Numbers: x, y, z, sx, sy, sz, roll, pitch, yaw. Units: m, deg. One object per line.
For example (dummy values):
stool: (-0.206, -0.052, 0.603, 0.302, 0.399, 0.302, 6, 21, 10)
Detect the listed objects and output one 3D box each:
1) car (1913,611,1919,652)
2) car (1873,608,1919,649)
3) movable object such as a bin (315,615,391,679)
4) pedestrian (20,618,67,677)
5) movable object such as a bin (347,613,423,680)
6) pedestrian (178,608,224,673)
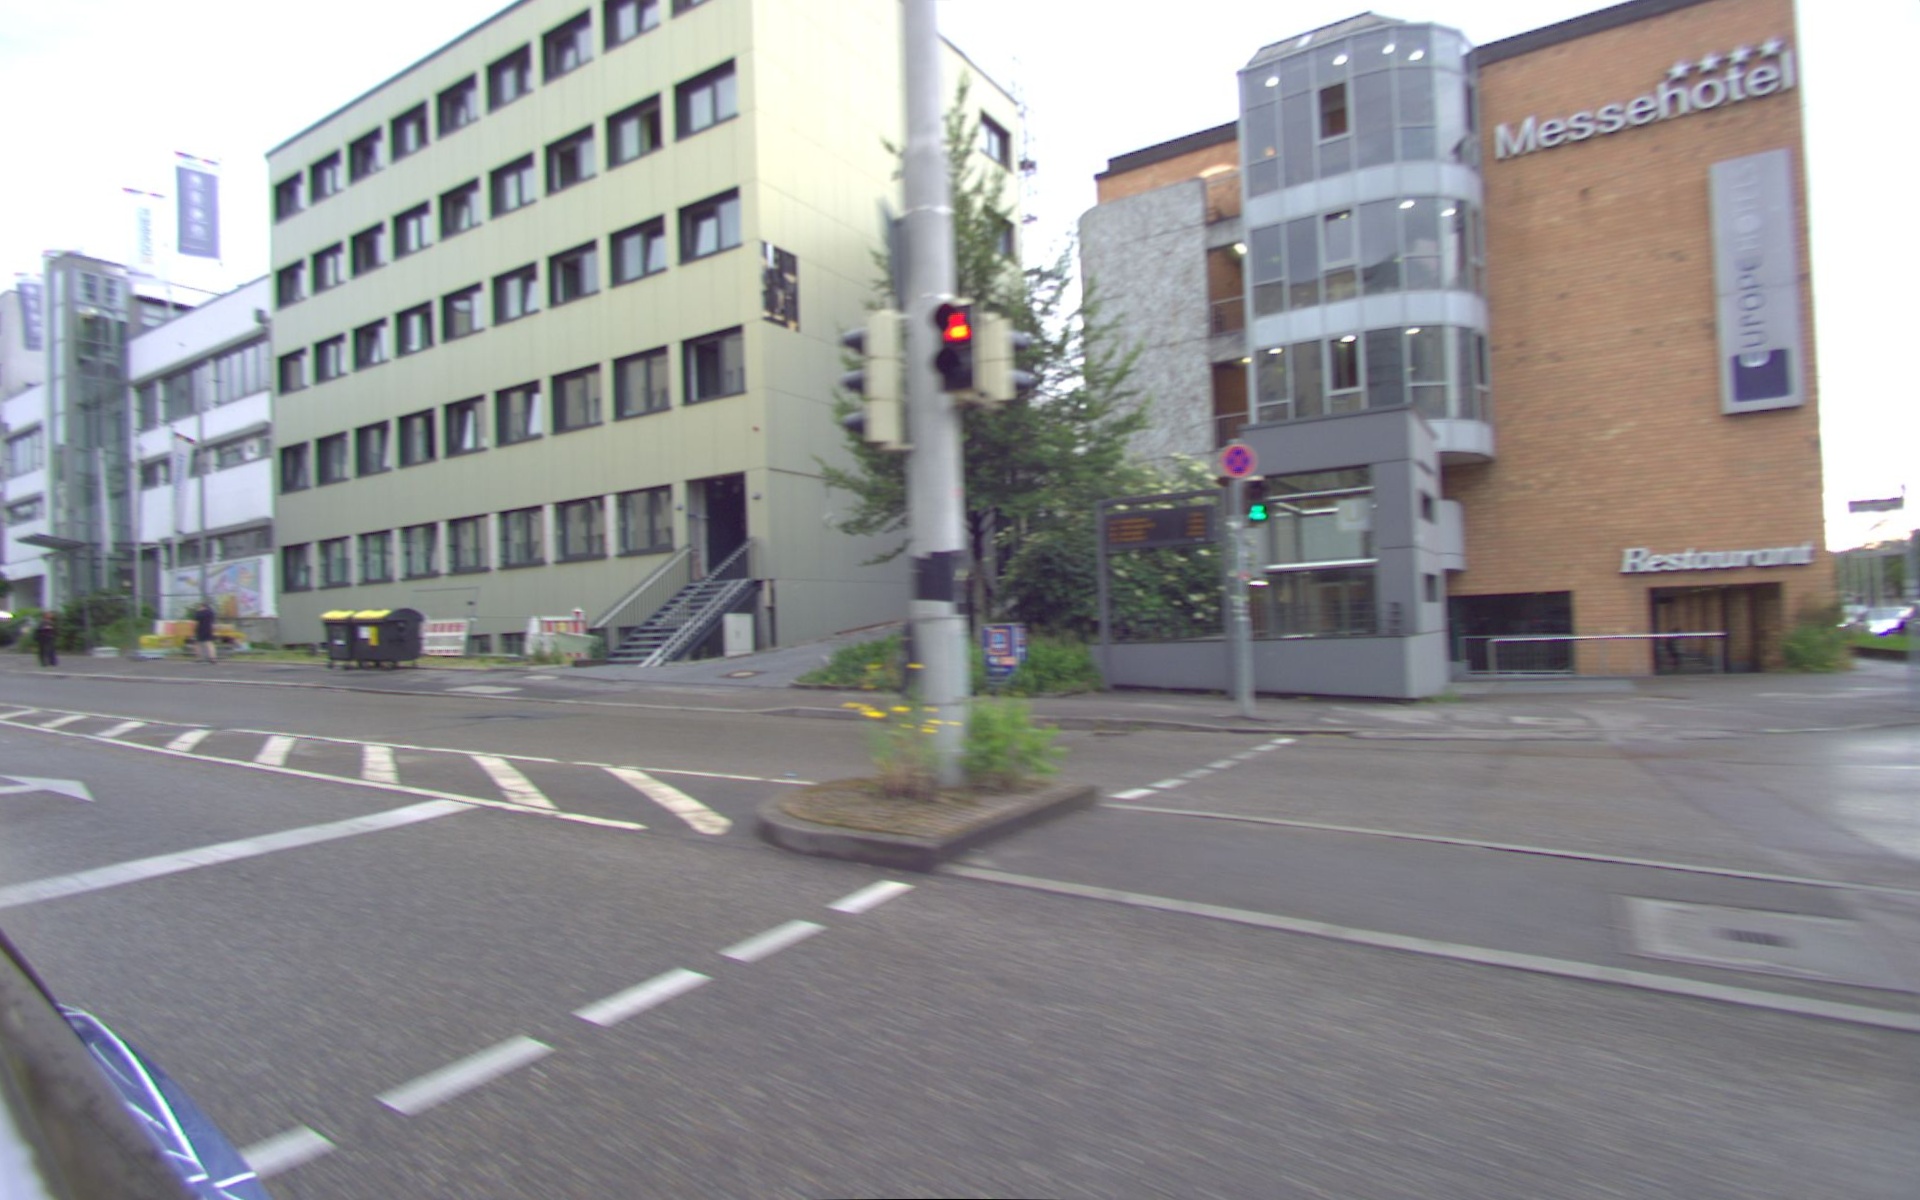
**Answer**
car: (32.548, 1.021, 32.802, 1.694, 1.411, 4.041, -5, -3, 34)
car: (36.265, 1.040, 38.447, 1.694, 1.411, 4.041, -5, -3, 34)
movable object such as a bin: (-14.883, 1.120, 24.810, 1.427, 1.456, 1.045, -1, 2, 35)
pedestrian: (-27.002, 1.378, 29.815, 0.966, 1.689, 0.761, -1, 1, 34)
movable object such as a bin: (-13.626, 1.078, 23.983, 1.355, 1.456, 1.045, -1, 2, 35)
pedestrian: (-21.248, 1.126, 28.328, 0.940, 1.745, 0.748, -1, 1, 36)
